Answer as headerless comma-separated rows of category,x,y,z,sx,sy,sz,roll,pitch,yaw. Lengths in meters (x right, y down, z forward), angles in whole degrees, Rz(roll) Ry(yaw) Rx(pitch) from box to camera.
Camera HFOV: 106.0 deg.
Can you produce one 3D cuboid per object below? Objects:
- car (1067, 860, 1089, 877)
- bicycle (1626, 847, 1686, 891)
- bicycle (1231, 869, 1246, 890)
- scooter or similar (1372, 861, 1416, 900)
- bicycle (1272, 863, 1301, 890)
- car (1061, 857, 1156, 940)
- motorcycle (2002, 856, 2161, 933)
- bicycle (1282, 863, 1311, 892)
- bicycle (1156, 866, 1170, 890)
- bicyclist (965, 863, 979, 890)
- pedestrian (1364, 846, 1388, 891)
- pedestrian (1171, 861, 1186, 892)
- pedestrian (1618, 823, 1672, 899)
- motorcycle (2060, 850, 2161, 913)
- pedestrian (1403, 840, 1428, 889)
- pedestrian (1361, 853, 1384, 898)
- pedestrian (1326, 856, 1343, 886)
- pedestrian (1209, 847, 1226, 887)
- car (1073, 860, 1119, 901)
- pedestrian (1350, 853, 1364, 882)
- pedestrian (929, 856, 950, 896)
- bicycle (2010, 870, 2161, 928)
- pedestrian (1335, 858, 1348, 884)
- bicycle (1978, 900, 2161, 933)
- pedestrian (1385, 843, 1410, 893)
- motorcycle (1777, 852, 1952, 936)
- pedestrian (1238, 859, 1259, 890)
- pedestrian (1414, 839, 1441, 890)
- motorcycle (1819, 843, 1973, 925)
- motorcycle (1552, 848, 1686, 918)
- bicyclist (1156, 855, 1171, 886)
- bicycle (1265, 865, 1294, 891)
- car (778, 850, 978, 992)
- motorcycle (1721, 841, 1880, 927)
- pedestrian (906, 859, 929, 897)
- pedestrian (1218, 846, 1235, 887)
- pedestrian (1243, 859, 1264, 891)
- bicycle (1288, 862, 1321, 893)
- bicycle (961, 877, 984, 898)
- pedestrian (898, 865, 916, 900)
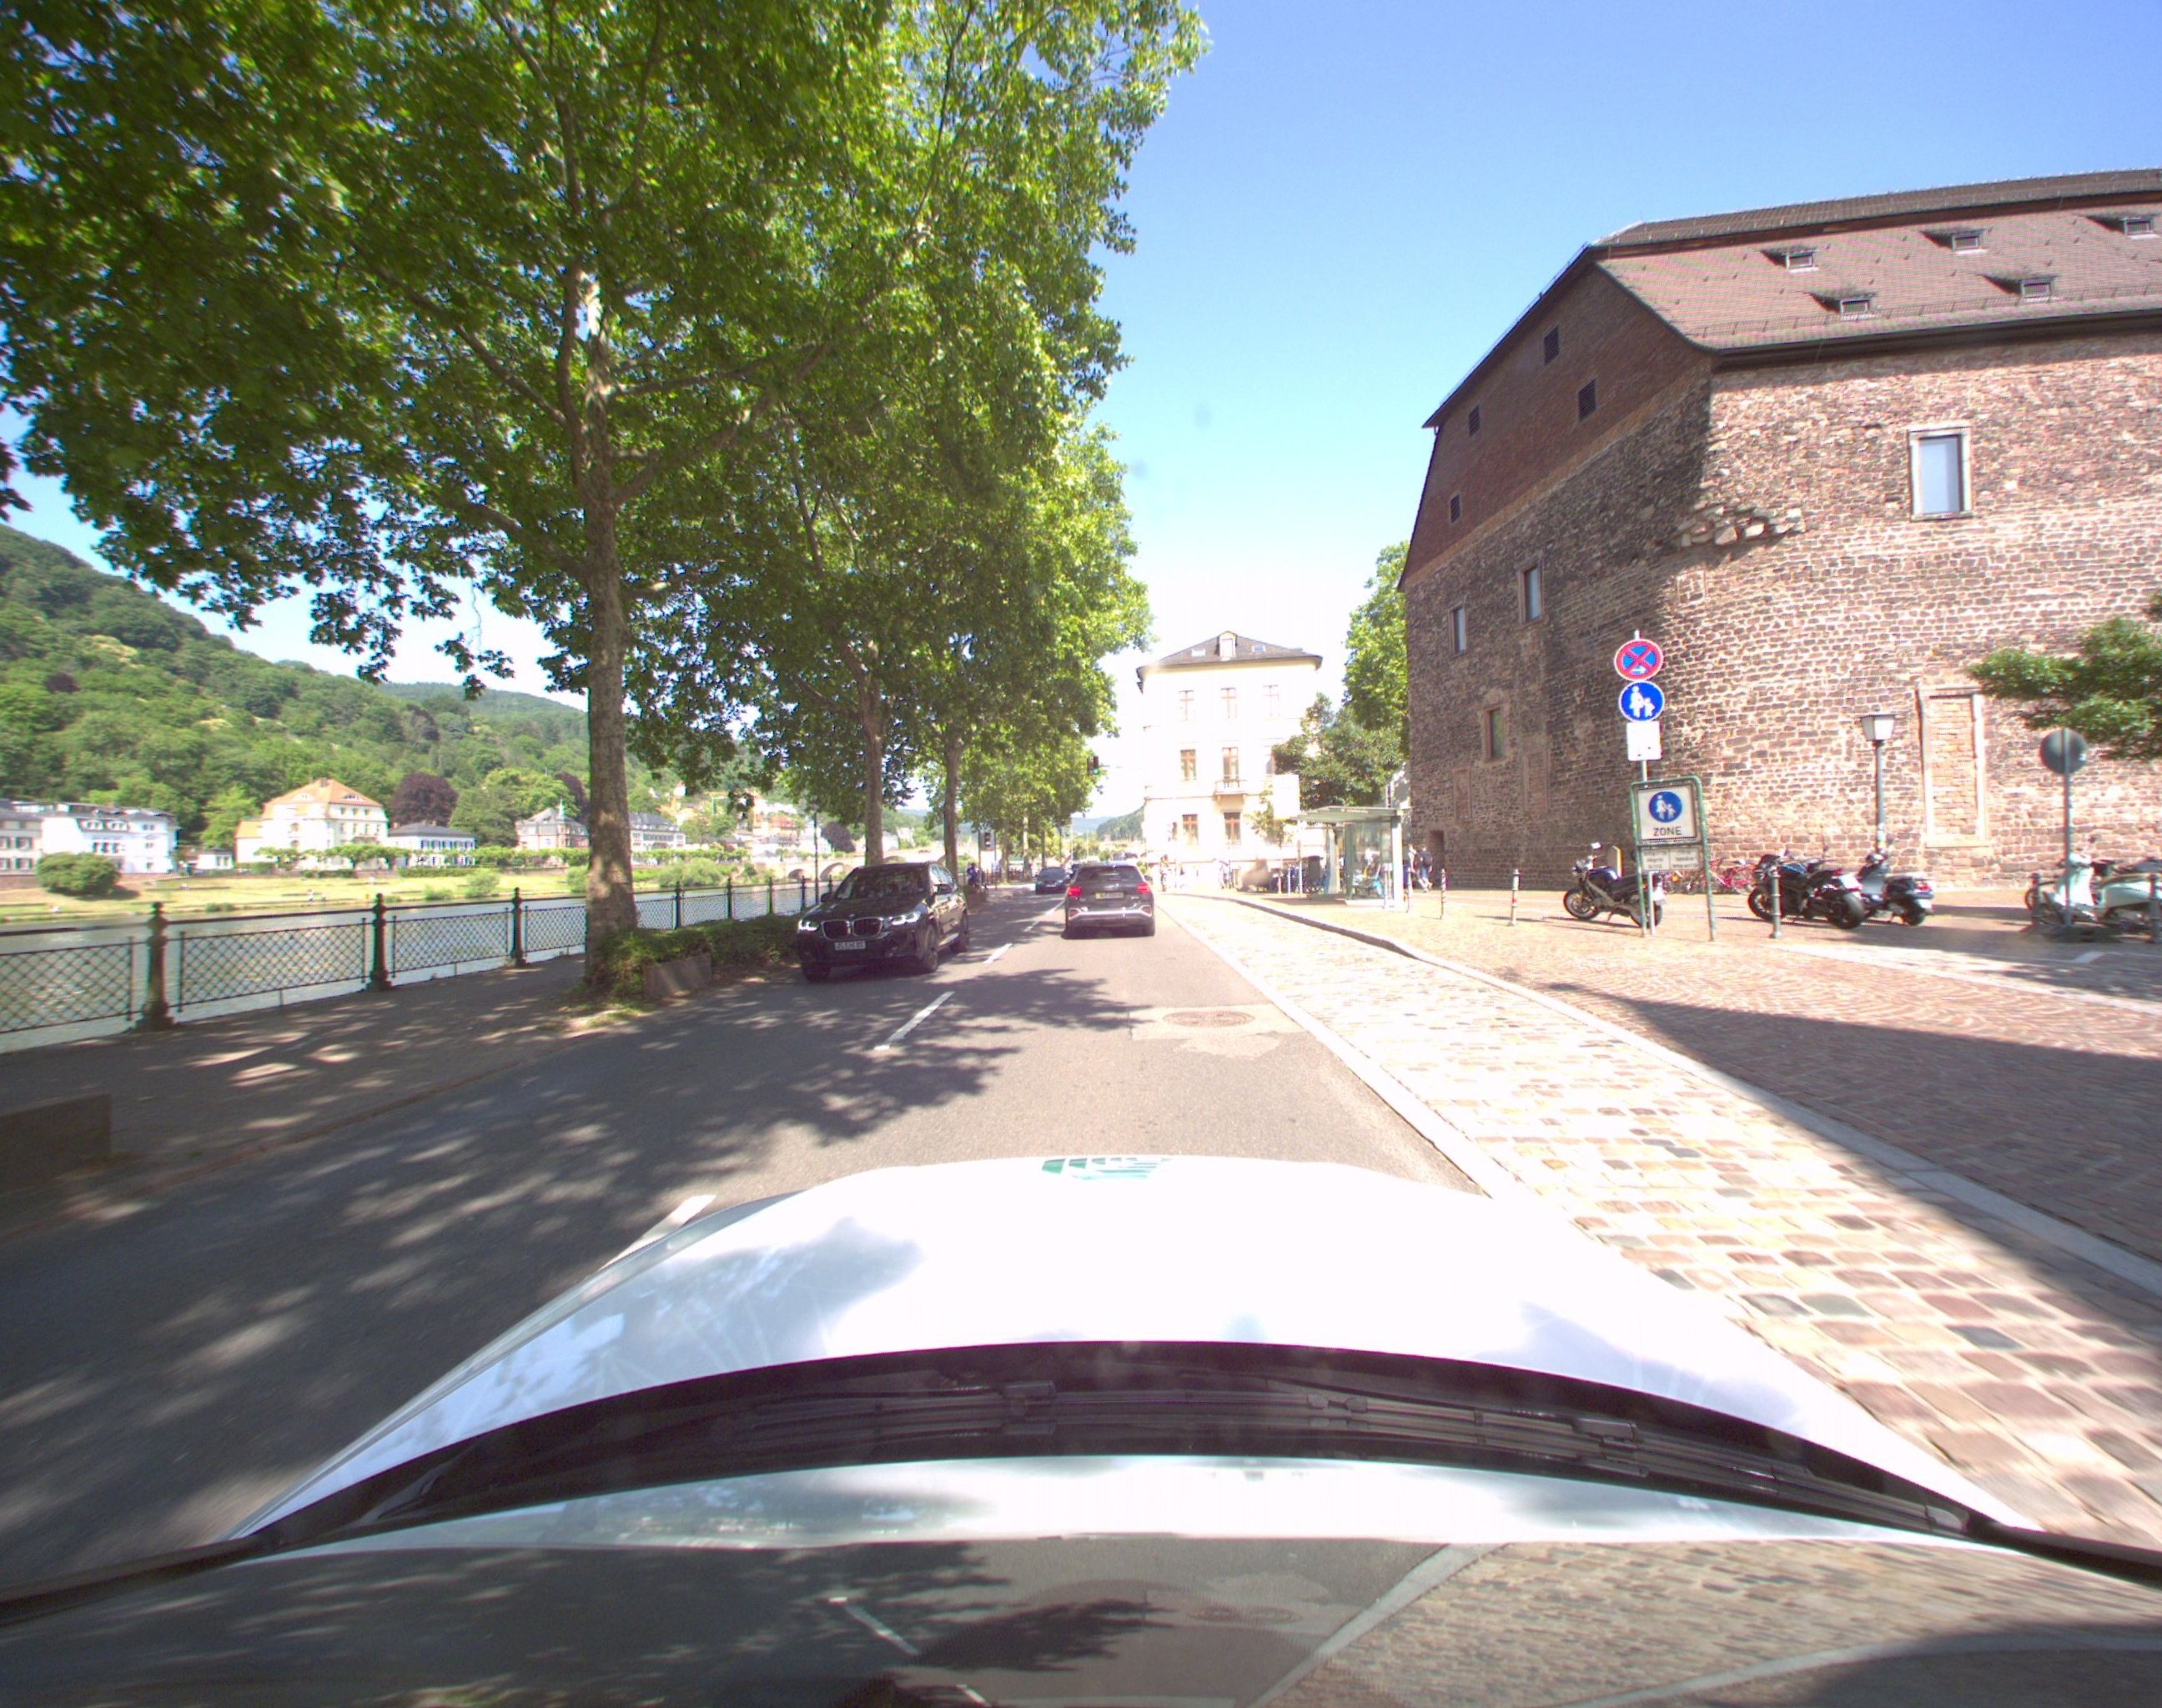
car,-0.280,1.457,82.616,1.985,1.626,4.003,1,-1,4
bicycle,16.524,0.427,23.457,0.388,1.209,1.715,1,-1,-6
bicycle,7.412,1.204,38.388,0.299,0.964,1.184,1,-1,-11
scooter or similar,8.579,0.726,22.347,1.085,1.066,0.323,1,-2,0
bicycle,8.014,0.865,31.743,1.204,1.035,0.178,1,-2,-17
car,0.594,0.857,17.281,1.736,1.509,3.649,-2,0,2
motorcycle,15.231,0.587,12.334,0.505,1.073,1.841,1,-1,2
bicycle,8.198,0.902,30.990,1.160,1.070,0.178,1,-2,-17
bicycle,3.832,1.120,38.002,0.436,1.086,1.675,1,-1,-2
bicyclist,-5.260,1.093,39.330,0.565,1.311,0.551,1,-2,-2
pedestrian,11.997,0.580,33.140,0.649,1.802,0.847,0,-1,1
pedestrian,4.864,1.121,40.667,0.691,1.500,0.513,1,-2,-2
pedestrian,15.037,0.183,21.713,0.833,1.949,0.906,-1,-1,-36
motorcycle,18.165,0.470,13.981,1.854,1.054,0.481,0,-2,10
pedestrian,13.183,0.412,32.134,0.666,1.920,0.821,1,-2,1
pedestrian,9.139,0.677,25.546,0.555,1.385,0.588,0,-2,4
pedestrian,17.650,1.186,56.687,0.941,2.014,0.808,1,-2,2
pedestrian,6.976,0.664,41.703,0.632,2.014,0.670,0,-2,31
car,0.667,1.055,33.956,1.786,1.595,3.401,1,-1,2
pedestrian,14.618,0.712,43.105,0.619,1.532,0.467,0,-2,6
pedestrian,-7.203,1.119,41.529,0.906,2.014,0.587,0,-2,6
bicycle,16.243,0.694,13.142,0.352,0.820,1.927,1,0,1
pedestrian,20.430,1.325,63.858,0.836,2.014,0.738,1,-2,2
bicycle,13.137,0.797,10.501,1.914,0.381,0.921,-1,-2,16
pedestrian,12.232,0.534,31.504,0.666,1.884,0.821,1,-2,1
motorcycle,12.540,0.618,13.166,0.672,1.235,2.313,1,-1,2
pedestrian,6.586,0.802,32.053,0.662,1.231,0.640,1,-2,-4
pedestrian,14.053,0.437,33.022,0.727,2.014,0.878,1,-2,2
motorcycle,13.303,0.478,13.393,0.544,1.235,2.032,1,-1,2
motorcycle,8.670,0.437,13.274,0.564,1.012,2.490,-1,-1,1
bicyclist,3.851,0.767,37.944,0.603,1.450,0.590,1,-2,-3
bicycle,7.910,0.964,32.412,1.187,1.016,0.178,1,-2,-17
car,-3.041,0.922,13.255,1.806,1.725,4.424,-7,-1,2
motorcycle,11.540,0.464,13.184,0.653,1.266,2.201,-1,-1,2
pedestrian,-7.936,1.177,39.561,0.906,1.811,0.586,0,-2,6
pedestrian,7.273,0.633,40.818,0.632,2.014,0.670,0,-2,31
pedestrian,6.625,0.811,31.292,0.662,1.212,0.640,1,-2,-4
bicycle,8.309,0.875,30.268,1.306,1.128,0.178,1,-2,-17
bicycle,-5.248,1.629,39.332,1.091,1.006,0.303,1,-2,-5
pedestrian,-8.224,1.353,38.522,0.621,1.619,0.587,0,-2,6
